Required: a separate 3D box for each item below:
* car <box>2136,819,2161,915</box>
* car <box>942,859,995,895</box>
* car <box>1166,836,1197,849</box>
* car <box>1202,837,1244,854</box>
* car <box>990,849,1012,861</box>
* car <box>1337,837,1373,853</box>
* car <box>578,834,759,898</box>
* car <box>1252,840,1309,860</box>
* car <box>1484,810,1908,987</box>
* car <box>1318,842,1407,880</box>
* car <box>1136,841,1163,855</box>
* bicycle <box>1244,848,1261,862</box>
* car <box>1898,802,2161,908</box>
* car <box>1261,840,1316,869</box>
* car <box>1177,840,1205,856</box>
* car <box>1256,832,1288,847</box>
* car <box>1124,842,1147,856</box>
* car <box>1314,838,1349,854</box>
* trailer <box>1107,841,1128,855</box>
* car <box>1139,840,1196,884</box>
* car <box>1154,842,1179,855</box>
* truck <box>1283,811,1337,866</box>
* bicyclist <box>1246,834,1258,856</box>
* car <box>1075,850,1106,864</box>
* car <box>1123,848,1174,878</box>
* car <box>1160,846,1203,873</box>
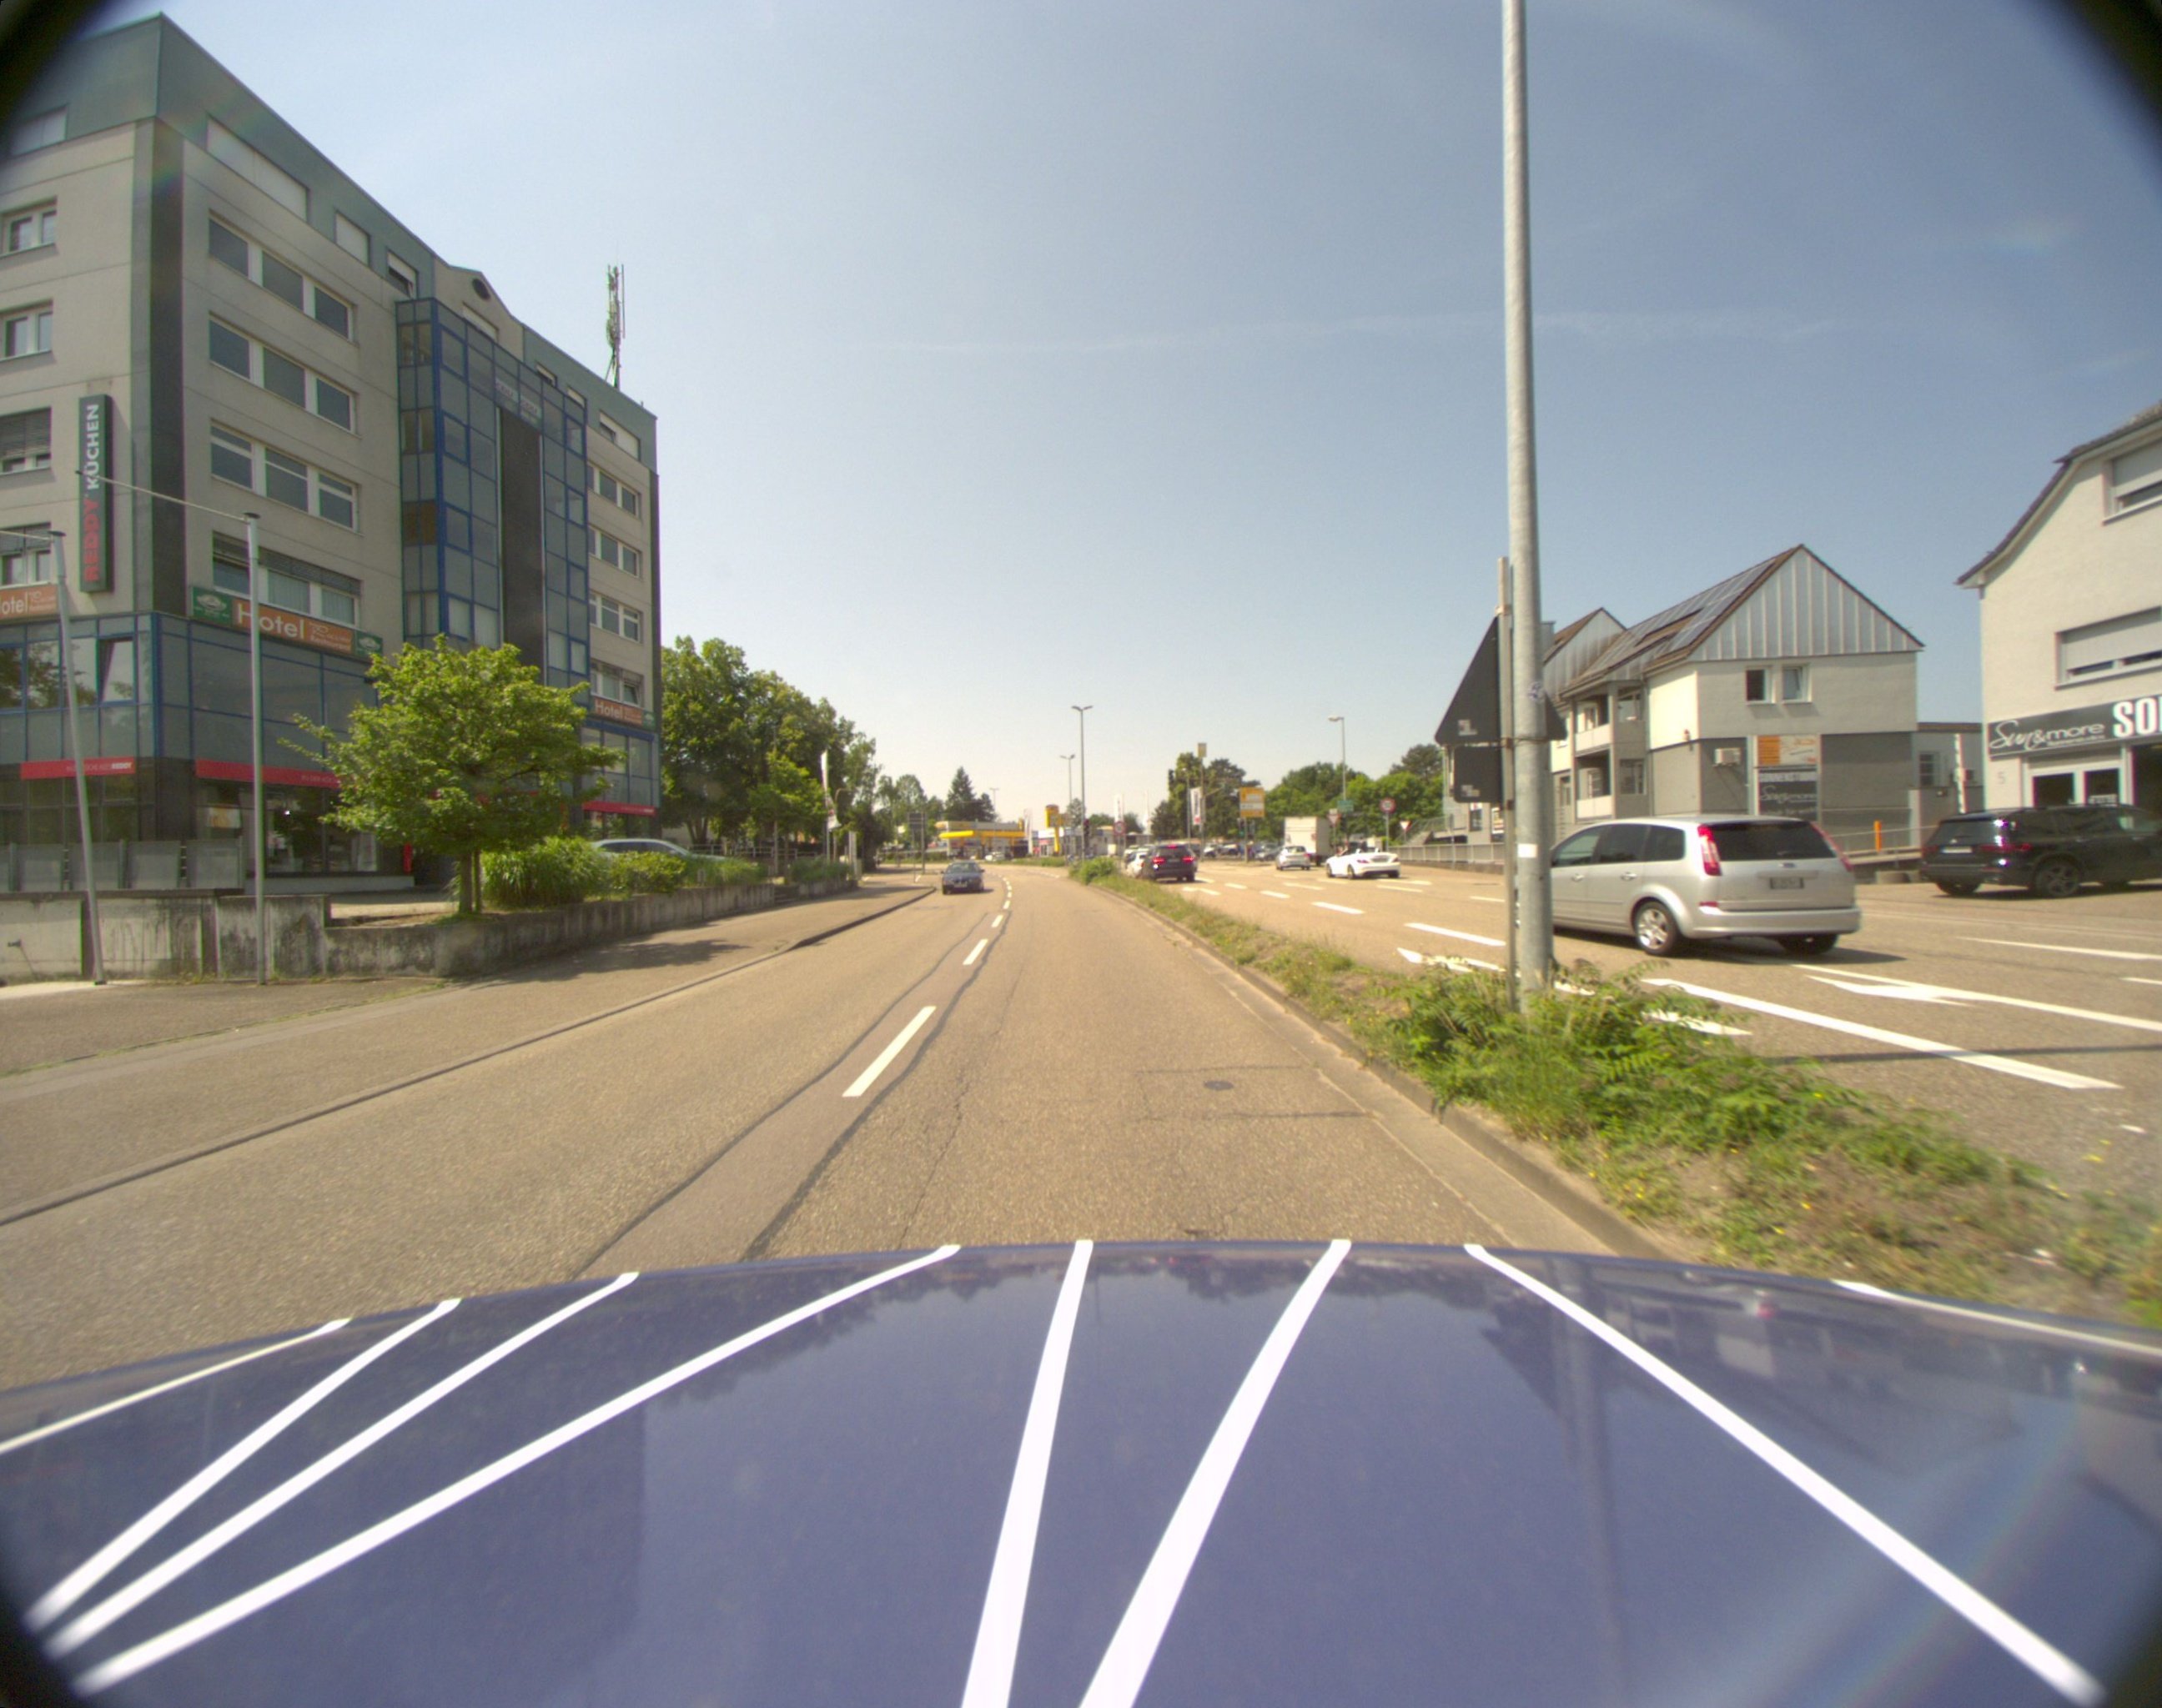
[{"bbox_3d":[19.338,0.012,11.467,4.618,1.488,1.752,-5,0,-3],"label":"car"},{"bbox_3d":[-4.911,0.961,33.595,1.697,1.365,3.999,-2,1,0],"label":"car"},{"bbox_3d":[14.425,-1.636,109.408,1.697,1.640,4.745,-2,1,-34],"label":"car"},{"bbox_3d":[15.935,-0.951,85.190,4.299,1.891,1.832,0,2,23],"label":"car"},{"bbox_3d":[-11.879,0.183,112.645,1.825,1.561,4.547,-4,0,-26],"label":"car"},{"bbox_3d":[30.958,-1.045,85.917,2.001,1.740,3.995,-3,1,-13],"label":"car"},{"bbox_3d":[-12.903,0.325,24.166,4.744,1.704,1.996,-3,2,-21],"label":"car"},{"bbox_3d":[18.440,-0.404,70.187,4.763,1.601,1.760,-3,2,-9],"label":"car"},{"bbox_3d":[7.060,0.402,9.467,1.785,1.619,4.339,-3,1,1],"label":"car"},{"bbox_3d":[11.146,0.236,30.413,1.809,1.346,4.354,-3,1,-1],"label":"car"},{"bbox_3d":[8.398,-0.710,92.805,1.914,1.532,3.968,-2,2,26],"label":"car"},{"bbox_3d":[13.108,0.059,58.050,0.422,1.048,1.786,-2,1,-18],"label":"bicycle"},{"bbox_3d":[18.995,-0.030,14.460,4.616,1.618,1.854,-5,0,4],"label":"car"},{"bbox_3d":[12.121,0.014,44.688,1.902,1.557,4.196,-2,1,-2],"label":"car"},{"bbox_3d":[12.700,-0.759,88.080,1.847,1.714,4.008,-2,2,-14],"label":"car"},{"bbox_3d":[20.883,-1.582,83.317,1.796,1.528,3.995,-3,1,-13],"label":"car"},{"bbox_3d":[6.883,-0.645,94.949,1.754,1.501,3.825,-2,1,22],"label":"car"},{"bbox_3d":[28.334,-0.877,85.974,1.869,1.674,3.995,-3,1,-13],"label":"car"},{"bbox_3d":[4.730,-0.795,98.321,1.689,1.694,2.439,-1,1,34],"label":"trailer"},{"bbox_3d":[3.825,0.289,34.380,1.914,1.741,4.758,-3,1,-1],"label":"car"},{"bbox_3d":[10.338,-0.679,91.571,1.712,1.424,3.968,0,2,25],"label":"car"},{"bbox_3d":[16.178,-1.195,53.342,2.266,3.399,7.047,-3,2,27],"label":"truck"},{"bbox_3d":[13.067,-0.653,58.078,0.423,1.633,0.819,-3,0,-18],"label":"bicyclist"},{"bbox_3d":[0.901,0.334,76.193,1.870,1.358,4.340,0,0,-18],"label":"car"},{"bbox_3d":[3.497,0.448,40.365,1.868,1.423,4.742,-2,1,-5],"label":"car"},{"bbox_3d":[6.177,0.318,47.124,1.902,1.353,4.195,-4,3,-2],"label":"car"}]
